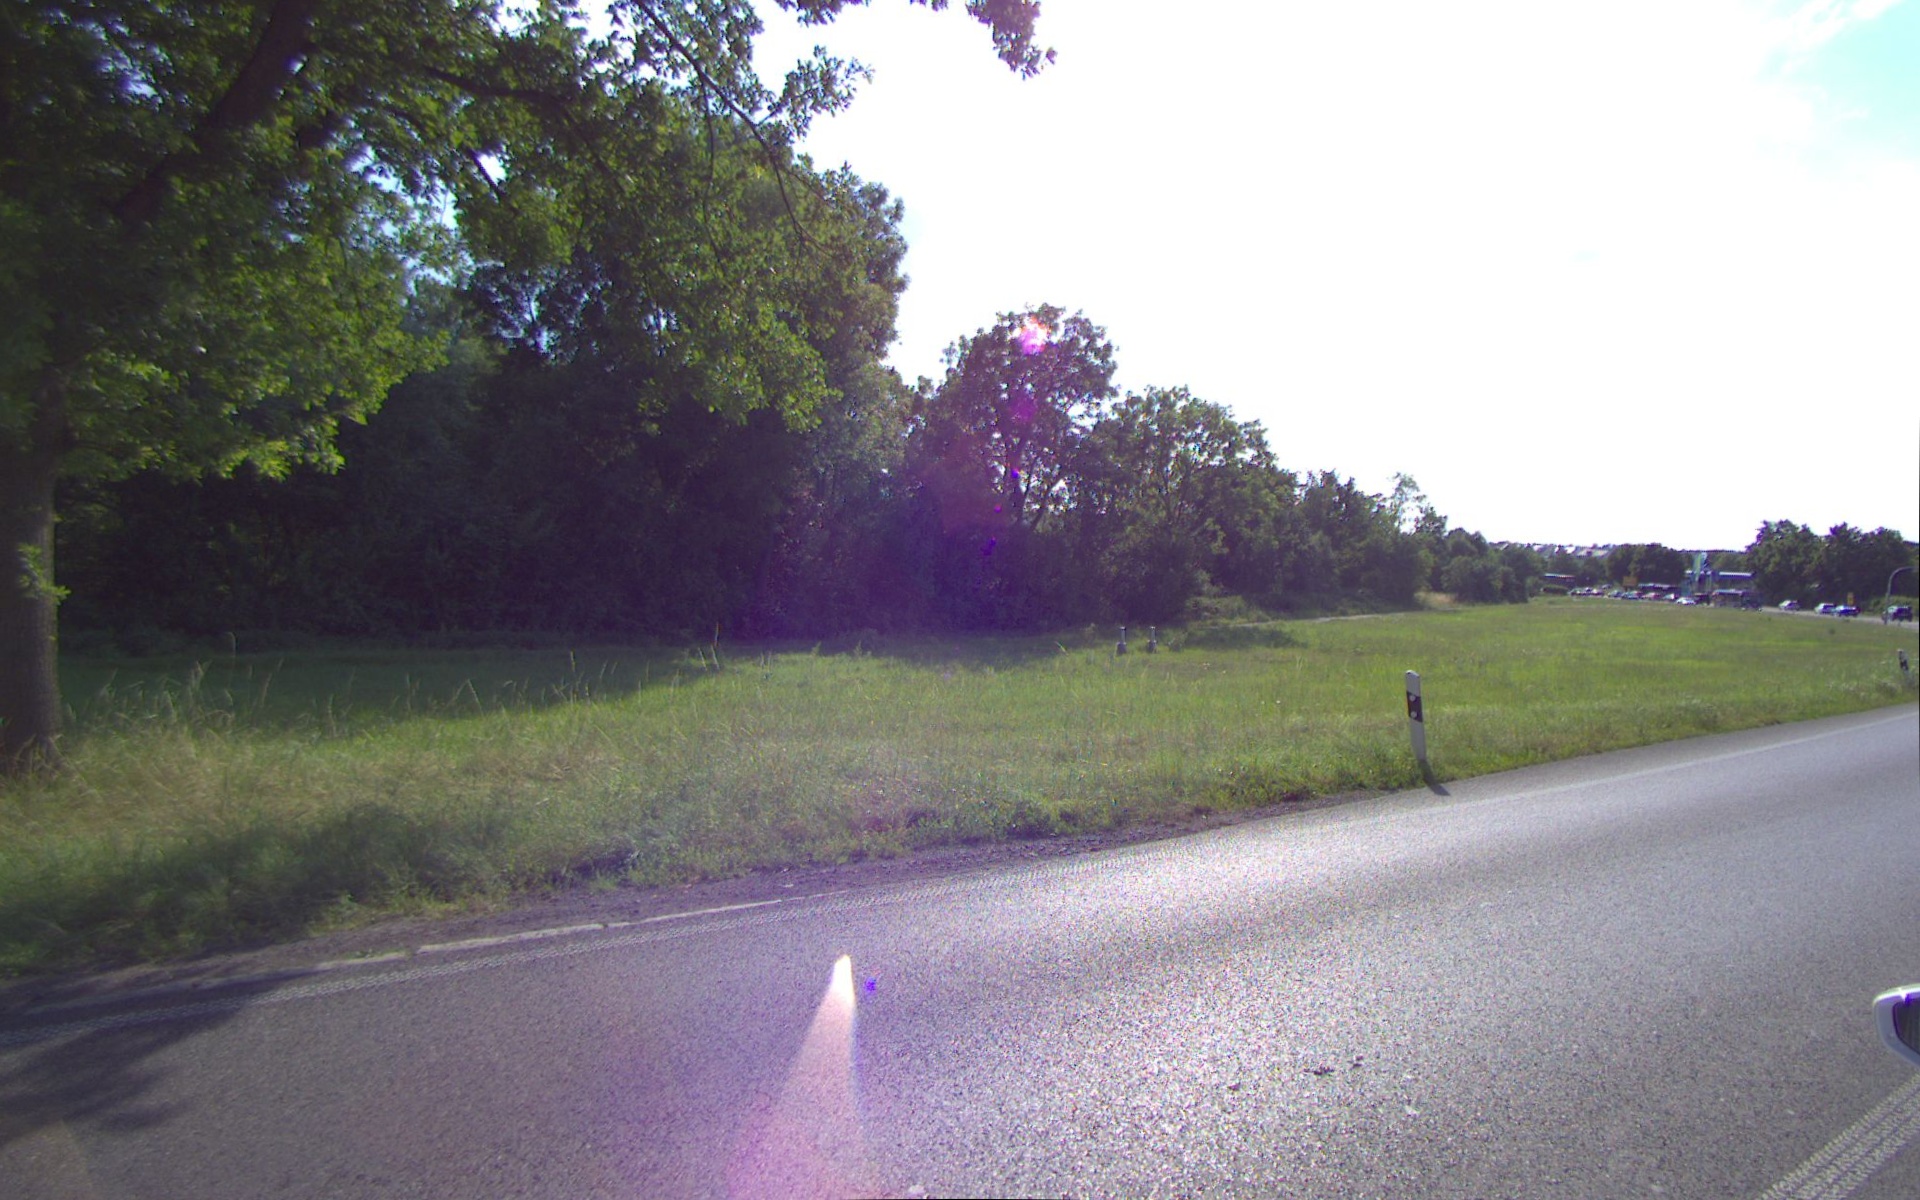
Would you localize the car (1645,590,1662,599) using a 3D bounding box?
[{"bbox_3d":[137.910,-1.074,199.729,1.851,1.621,3.999,2,1,21],"label":"car"}]

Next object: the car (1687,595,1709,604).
[{"bbox_3d":[132.682,-0.087,180.644,2.050,1.621,4.000,2,1,19],"label":"car"}]

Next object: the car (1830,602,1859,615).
[{"bbox_3d":[115.917,1.084,131.672,1.651,1.579,3.871,2,0,22],"label":"car"}]

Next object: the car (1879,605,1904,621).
[{"bbox_3d":[108.991,1.528,117.533,1.498,1.678,3.862,2,0,33],"label":"car"}]

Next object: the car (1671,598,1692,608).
[{"bbox_3d":[122.911,0.525,171.210,1.811,1.678,4.000,2,0,20],"label":"car"}]

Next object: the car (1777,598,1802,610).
[{"bbox_3d":[128.612,0.635,155.720,1.944,1.678,3.870,2,0,24],"label":"car"}]

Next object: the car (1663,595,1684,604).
[{"bbox_3d":[136.473,-0.118,192.219,2.050,1.621,4.001,2,1,16],"label":"car"}]

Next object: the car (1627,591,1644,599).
[{"bbox_3d":[138.569,-1.069,206.057,1.850,1.621,4.001,2,1,17],"label":"car"}]

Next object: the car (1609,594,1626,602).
[{"bbox_3d":[140.345,-0.494,214.501,1.850,1.621,4.001,2,1,17],"label":"car"}]

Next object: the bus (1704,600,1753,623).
[{"bbox_3d":[115.020,1.770,150.487,2.749,3.224,12.121,2,0,23],"label":"bus"}]

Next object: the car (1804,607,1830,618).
[{"bbox_3d":[121.427,1.767,142.400,1.652,1.579,3.871,2,0,23],"label":"car"}]

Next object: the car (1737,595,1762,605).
[{"bbox_3d":[128.068,-0.008,162.878,2.051,1.621,3.999,2,1,21],"label":"car"}]
